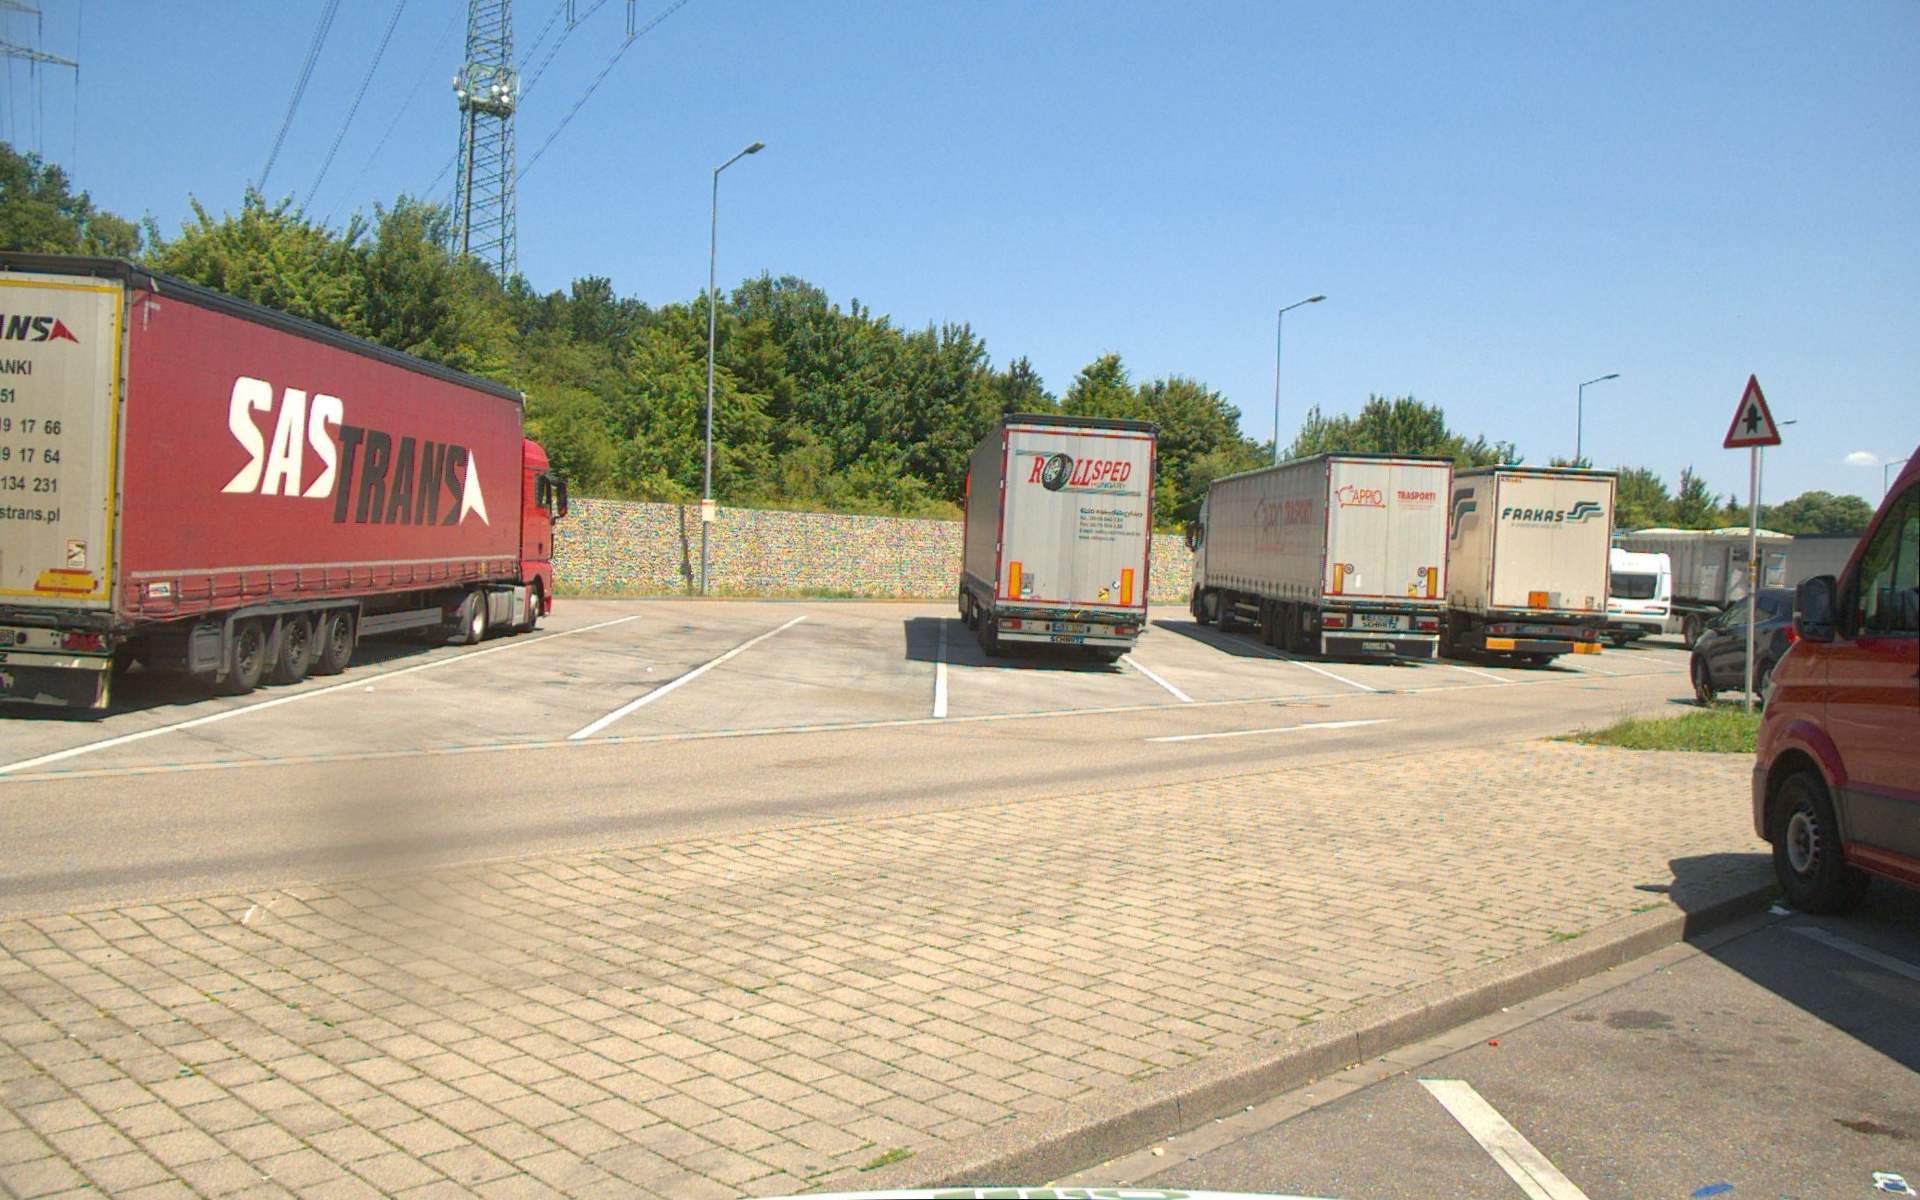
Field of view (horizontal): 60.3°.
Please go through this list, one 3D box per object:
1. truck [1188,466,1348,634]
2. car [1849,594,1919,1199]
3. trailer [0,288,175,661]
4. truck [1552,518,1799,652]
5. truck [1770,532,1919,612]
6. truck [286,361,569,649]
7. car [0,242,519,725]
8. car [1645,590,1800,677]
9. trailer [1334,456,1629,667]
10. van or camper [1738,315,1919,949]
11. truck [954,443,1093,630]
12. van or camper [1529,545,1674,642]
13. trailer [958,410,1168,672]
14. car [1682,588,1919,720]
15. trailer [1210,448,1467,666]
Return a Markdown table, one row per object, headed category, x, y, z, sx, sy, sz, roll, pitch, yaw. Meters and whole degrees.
| category | x | y | z | sx | sy | sz | roll | pitch | yaw |
| --- | --- | --- | --- | --- | --- | --- | --- | --- | --- |
| truck | 8.157 | -1.389 | 44.733 | 2.808 | 4.107 | 6.956 | 2 | 2 | -1 |
| car | 2.538 | 0.792 | 1.109 | 1.584 | 1.509 | 3.762 | 1 | 1 | -6 |
| trailer | -12.552 | -1.405 | 17.156 | 2.756 | 4.341 | 12.940 | 2 | 2 | -1 |
| truck | 21.737 | -0.656 | 51.244 | 2.437 | 3.630 | 11.423 | 2 | 2 | -1 |
| truck | 34.689 | -1.077 | 63.639 | 2.082 | 2.869 | 9.777 | 1 | 1 | -1 |
| truck | -8.704 | -1.529 | 27.873 | 2.641 | 4.184 | 6.239 | 2 | 2 | 0 |
| car | -8.682 | -1.280 | 20.955 | 2.641 | 4.184 | 12.935 | 2 | 2 | 0 |
| car | 15.195 | 0.624 | 33.160 | 1.557 | 1.572 | 3.642 | 1 | 1 | 3 |
| trailer | 11.814 | -1.028 | 39.221 | 2.808 | 4.107 | 12.438 | 2 | 2 | -1 |
| van or camper | 4.987 | 0.171 | 5.557 | 1.954 | 2.700 | 6.482 | 1 | 1 | 3 |
| truck | 1.415 | -1.568 | 40.747 | 2.809 | 4.107 | 7.026 | 2 | 2 | -2 |
| van or camper | 18.257 | -0.228 | 47.347 | 2.061 | 2.606 | 5.372 | 1 | 1 | 0 |
| trailer | 1.646 | -1.242 | 33.666 | 2.809 | 4.107 | 14.238 | 2 | 2 | -2 |
| car | 11.530 | 0.668 | 22.797 | 1.802 | 1.589 | 3.953 | 1 | 1 | 7 |
| trailer | 8.237 | -1.093 | 38.103 | 2.808 | 4.107 | 12.438 | 2 | 2 | -1 |
